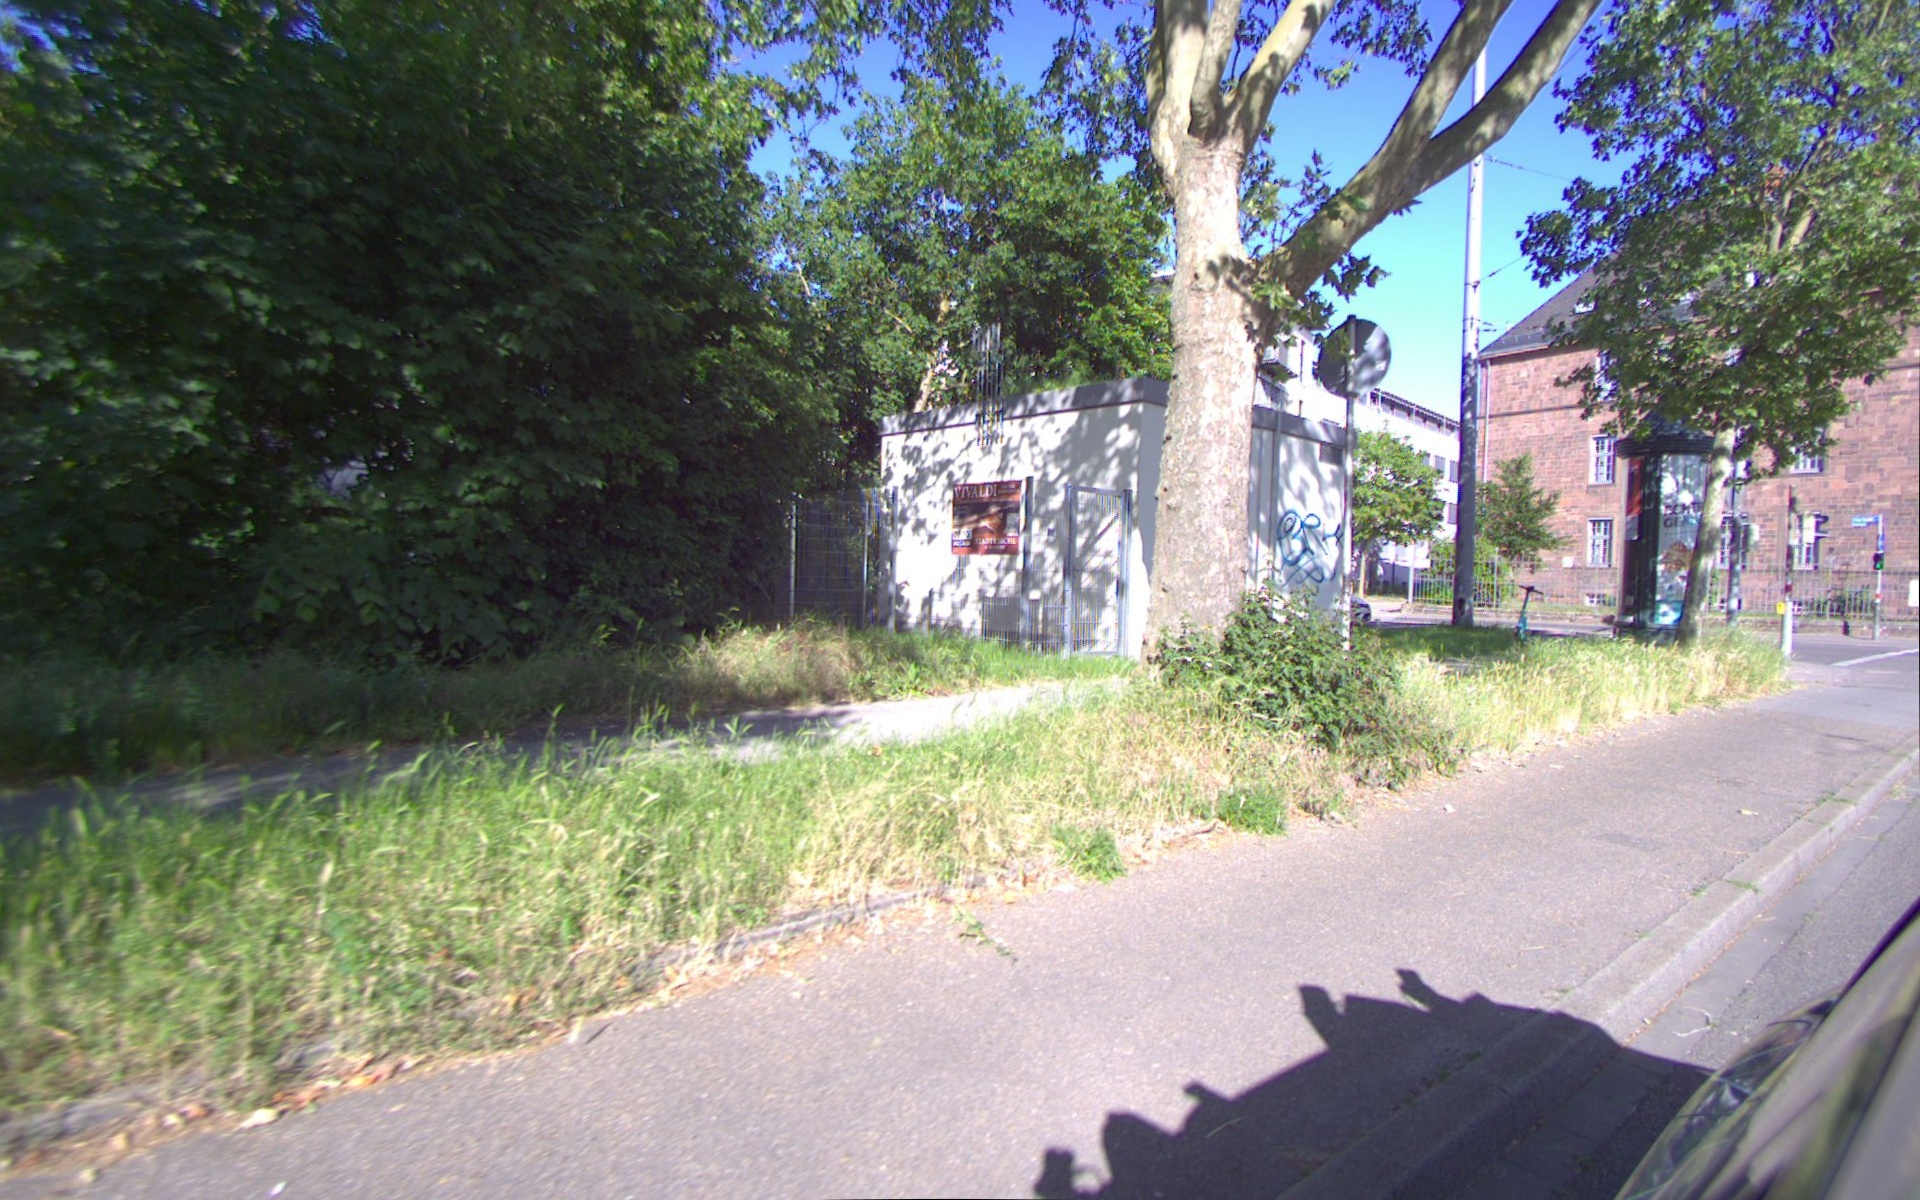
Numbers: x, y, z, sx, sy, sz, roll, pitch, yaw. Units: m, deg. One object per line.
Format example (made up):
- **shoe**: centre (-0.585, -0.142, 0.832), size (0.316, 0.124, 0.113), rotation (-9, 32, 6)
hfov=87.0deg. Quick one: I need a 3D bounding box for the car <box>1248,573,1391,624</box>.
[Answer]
- **car**: centre (11.580, -0.087, 32.725), size (3.984, 1.486, 1.773), rotation (3, 2, 41)
